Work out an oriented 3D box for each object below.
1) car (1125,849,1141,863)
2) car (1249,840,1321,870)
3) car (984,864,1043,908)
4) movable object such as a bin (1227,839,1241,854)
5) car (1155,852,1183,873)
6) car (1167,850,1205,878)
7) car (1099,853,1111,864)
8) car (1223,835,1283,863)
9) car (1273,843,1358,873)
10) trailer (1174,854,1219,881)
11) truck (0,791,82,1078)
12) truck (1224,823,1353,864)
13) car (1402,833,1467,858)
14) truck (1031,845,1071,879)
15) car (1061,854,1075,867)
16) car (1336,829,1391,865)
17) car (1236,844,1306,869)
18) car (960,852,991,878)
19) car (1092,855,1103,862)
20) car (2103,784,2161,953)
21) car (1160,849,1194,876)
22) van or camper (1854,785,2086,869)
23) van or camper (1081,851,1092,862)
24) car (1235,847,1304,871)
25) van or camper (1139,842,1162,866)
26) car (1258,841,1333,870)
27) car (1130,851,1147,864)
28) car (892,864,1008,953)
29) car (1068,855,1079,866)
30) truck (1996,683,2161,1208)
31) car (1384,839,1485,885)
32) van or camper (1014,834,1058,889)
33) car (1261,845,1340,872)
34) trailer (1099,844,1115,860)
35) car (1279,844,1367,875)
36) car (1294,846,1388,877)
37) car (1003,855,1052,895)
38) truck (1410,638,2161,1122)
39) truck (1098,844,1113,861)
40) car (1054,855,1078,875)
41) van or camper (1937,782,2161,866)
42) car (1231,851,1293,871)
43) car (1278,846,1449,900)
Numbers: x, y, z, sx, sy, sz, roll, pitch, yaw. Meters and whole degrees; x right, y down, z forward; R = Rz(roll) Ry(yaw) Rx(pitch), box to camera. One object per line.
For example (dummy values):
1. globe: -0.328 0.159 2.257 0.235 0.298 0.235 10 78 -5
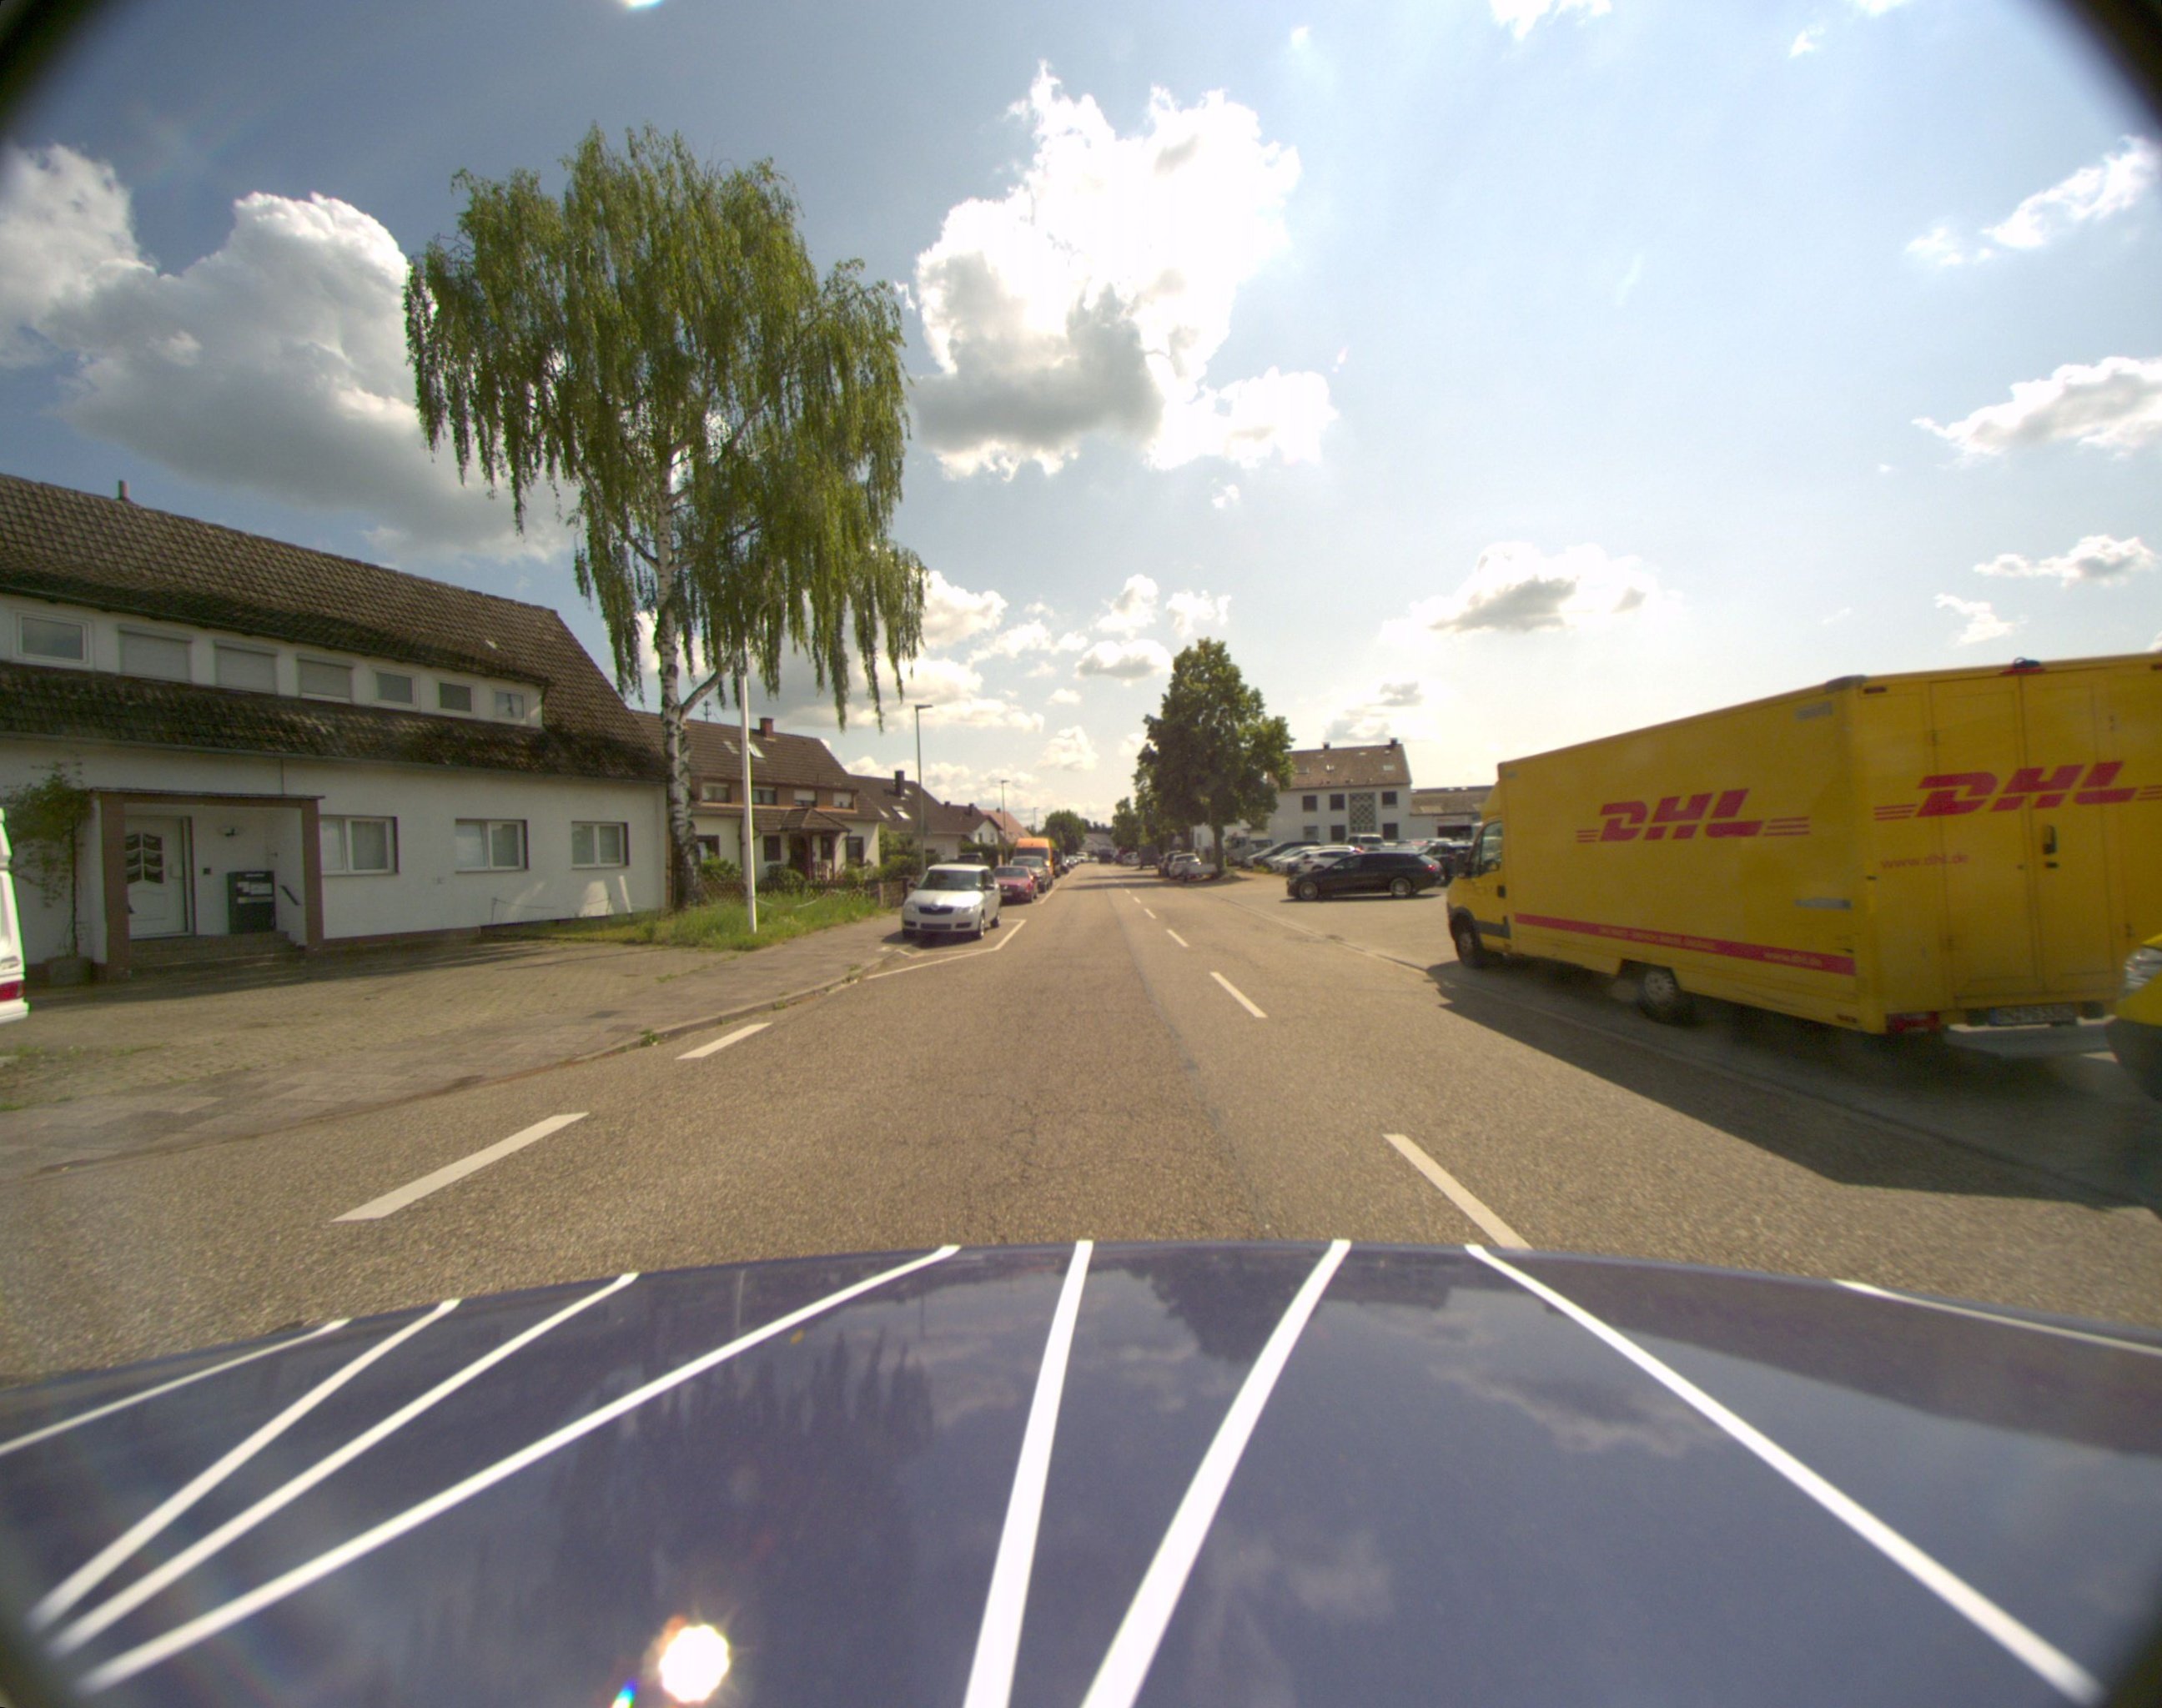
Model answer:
1. car: 7.428 0.315 109.057 1.814 1.795 4.491 -5 0 0
2. car: 13.209 0.059 49.369 4.153 1.778 1.827 -2 1 4
3. car: -2.409 1.119 28.082 1.673 1.327 4.437 -2 0 1
4. movable object such as a bin: 16.847 -0.822 83.533 1.311 1.422 1.606 -2 -6 17
5. car: 6.535 0.619 56.996 1.703 1.475 4.159 -3 0 2
6. car: 6.353 0.592 46.401 1.837 1.519 4.237 -4 0 3
7. car: 4.399 0.793 137.880 2.056 2.022 5.141 0 0 1
8. car: 15.146 -0.454 66.760 5.008 2.219 2.001 -2 2 14
9. car: 12.934 0.215 42.084 4.153 1.481 1.827 -2 1 4
10. trailer: 6.302 0.699 41.746 1.766 1.282 4.508 -5 0 1
11. truck: -12.233 0.850 5.102 6.066 2.562 2.561 -3 1 -26
12. truck: 15.937 -0.821 58.915 9.278 2.839 2.721 -2 0 5
13. car: 29.206 -0.713 62.923 4.487 1.782 2.001 -2 2 14
14. truck: -2.212 0.560 57.665 2.528 2.286 5.895 -4 0 1
15. car: -1.725 0.843 100.623 1.748 1.542 4.121 -1 0 -1
16. car: 17.029 -0.423 46.000 1.715 2.002 3.999 -2 0 -2
17. car: 12.965 0.170 52.067 4.305 1.605 1.827 -2 0 0
18. car: -7.893 0.777 57.181 1.862 1.855 5.018 -2 0 -4
19. car: 3.963 1.103 178.609 1.817 1.513 4.268 -1 0 12
20. car: 12.017 0.117 5.811 1.834 1.695 4.704 -2 0 -8
21. car: 6.452 0.549 51.560 1.697 1.690 4.400 -4 0 0
22. van or camper: 29.566 -0.786 25.624 1.997 2.460 5.365 -2 -1 9
23. van or camper: 1.262 0.616 165.092 1.972 2.345 5.760 -1 0 4
24. car: 13.401 0.347 54.215 4.535 1.573 1.828 -1 0 3
25. van or camper: 7.284 -0.037 79.734 1.998 2.303 5.934 -5 0 3
26. car: 13.234 0.093 47.081 4.153 1.609 1.827 -2 1 4
27. car: 7.810 0.484 103.431 1.753 1.452 4.709 -5 -1 -2
28. car: -2.761 1.091 16.854 1.614 1.571 4.000 -3 0 2
29. car: -1.288 1.156 133.083 1.896 1.763 4.709 -2 0 0
30. truck: 5.828 0.409 1.030 1.998 2.399 6.065 -2 0 2
31. car: 12.946 0.275 28.137 1.758 1.524 4.257 -2 0 1
32. van or camper: -2.309 0.383 40.394 1.999 2.648 5.768 -2 0 -1
33. car: 12.897 0.224 44.739 4.153 1.422 1.827 -2 1 4
34. trailer: 5.394 -0.397 158.319 2.842 3.051 8.888 -2 0 -1
35. car: 12.669 0.268 39.928 4.035 1.481 1.827 -2 1 4
36. car: 12.718 0.352 37.331 4.035 1.366 1.827 -2 1 6
37. car: -2.374 0.902 34.749 1.837 1.630 4.239 -2 0 1
38. truck: 6.118 0.138 8.141 2.225 2.840 7.070 -4 0 2
39. truck: 5.281 -0.325 164.390 2.780 3.478 5.881 -2 0 0
40. car: -1.300 0.977 68.085 1.834 1.652 4.554 -2 0 1
41. van or camper: 32.400 -0.878 25.393 1.997 2.460 5.365 -2 -1 9
42. car: 13.452 0.515 56.566 4.206 1.450 1.679 -1 0 3
43. car: 8.762 0.614 23.703 4.581 1.386 2.003 -3 1 35
